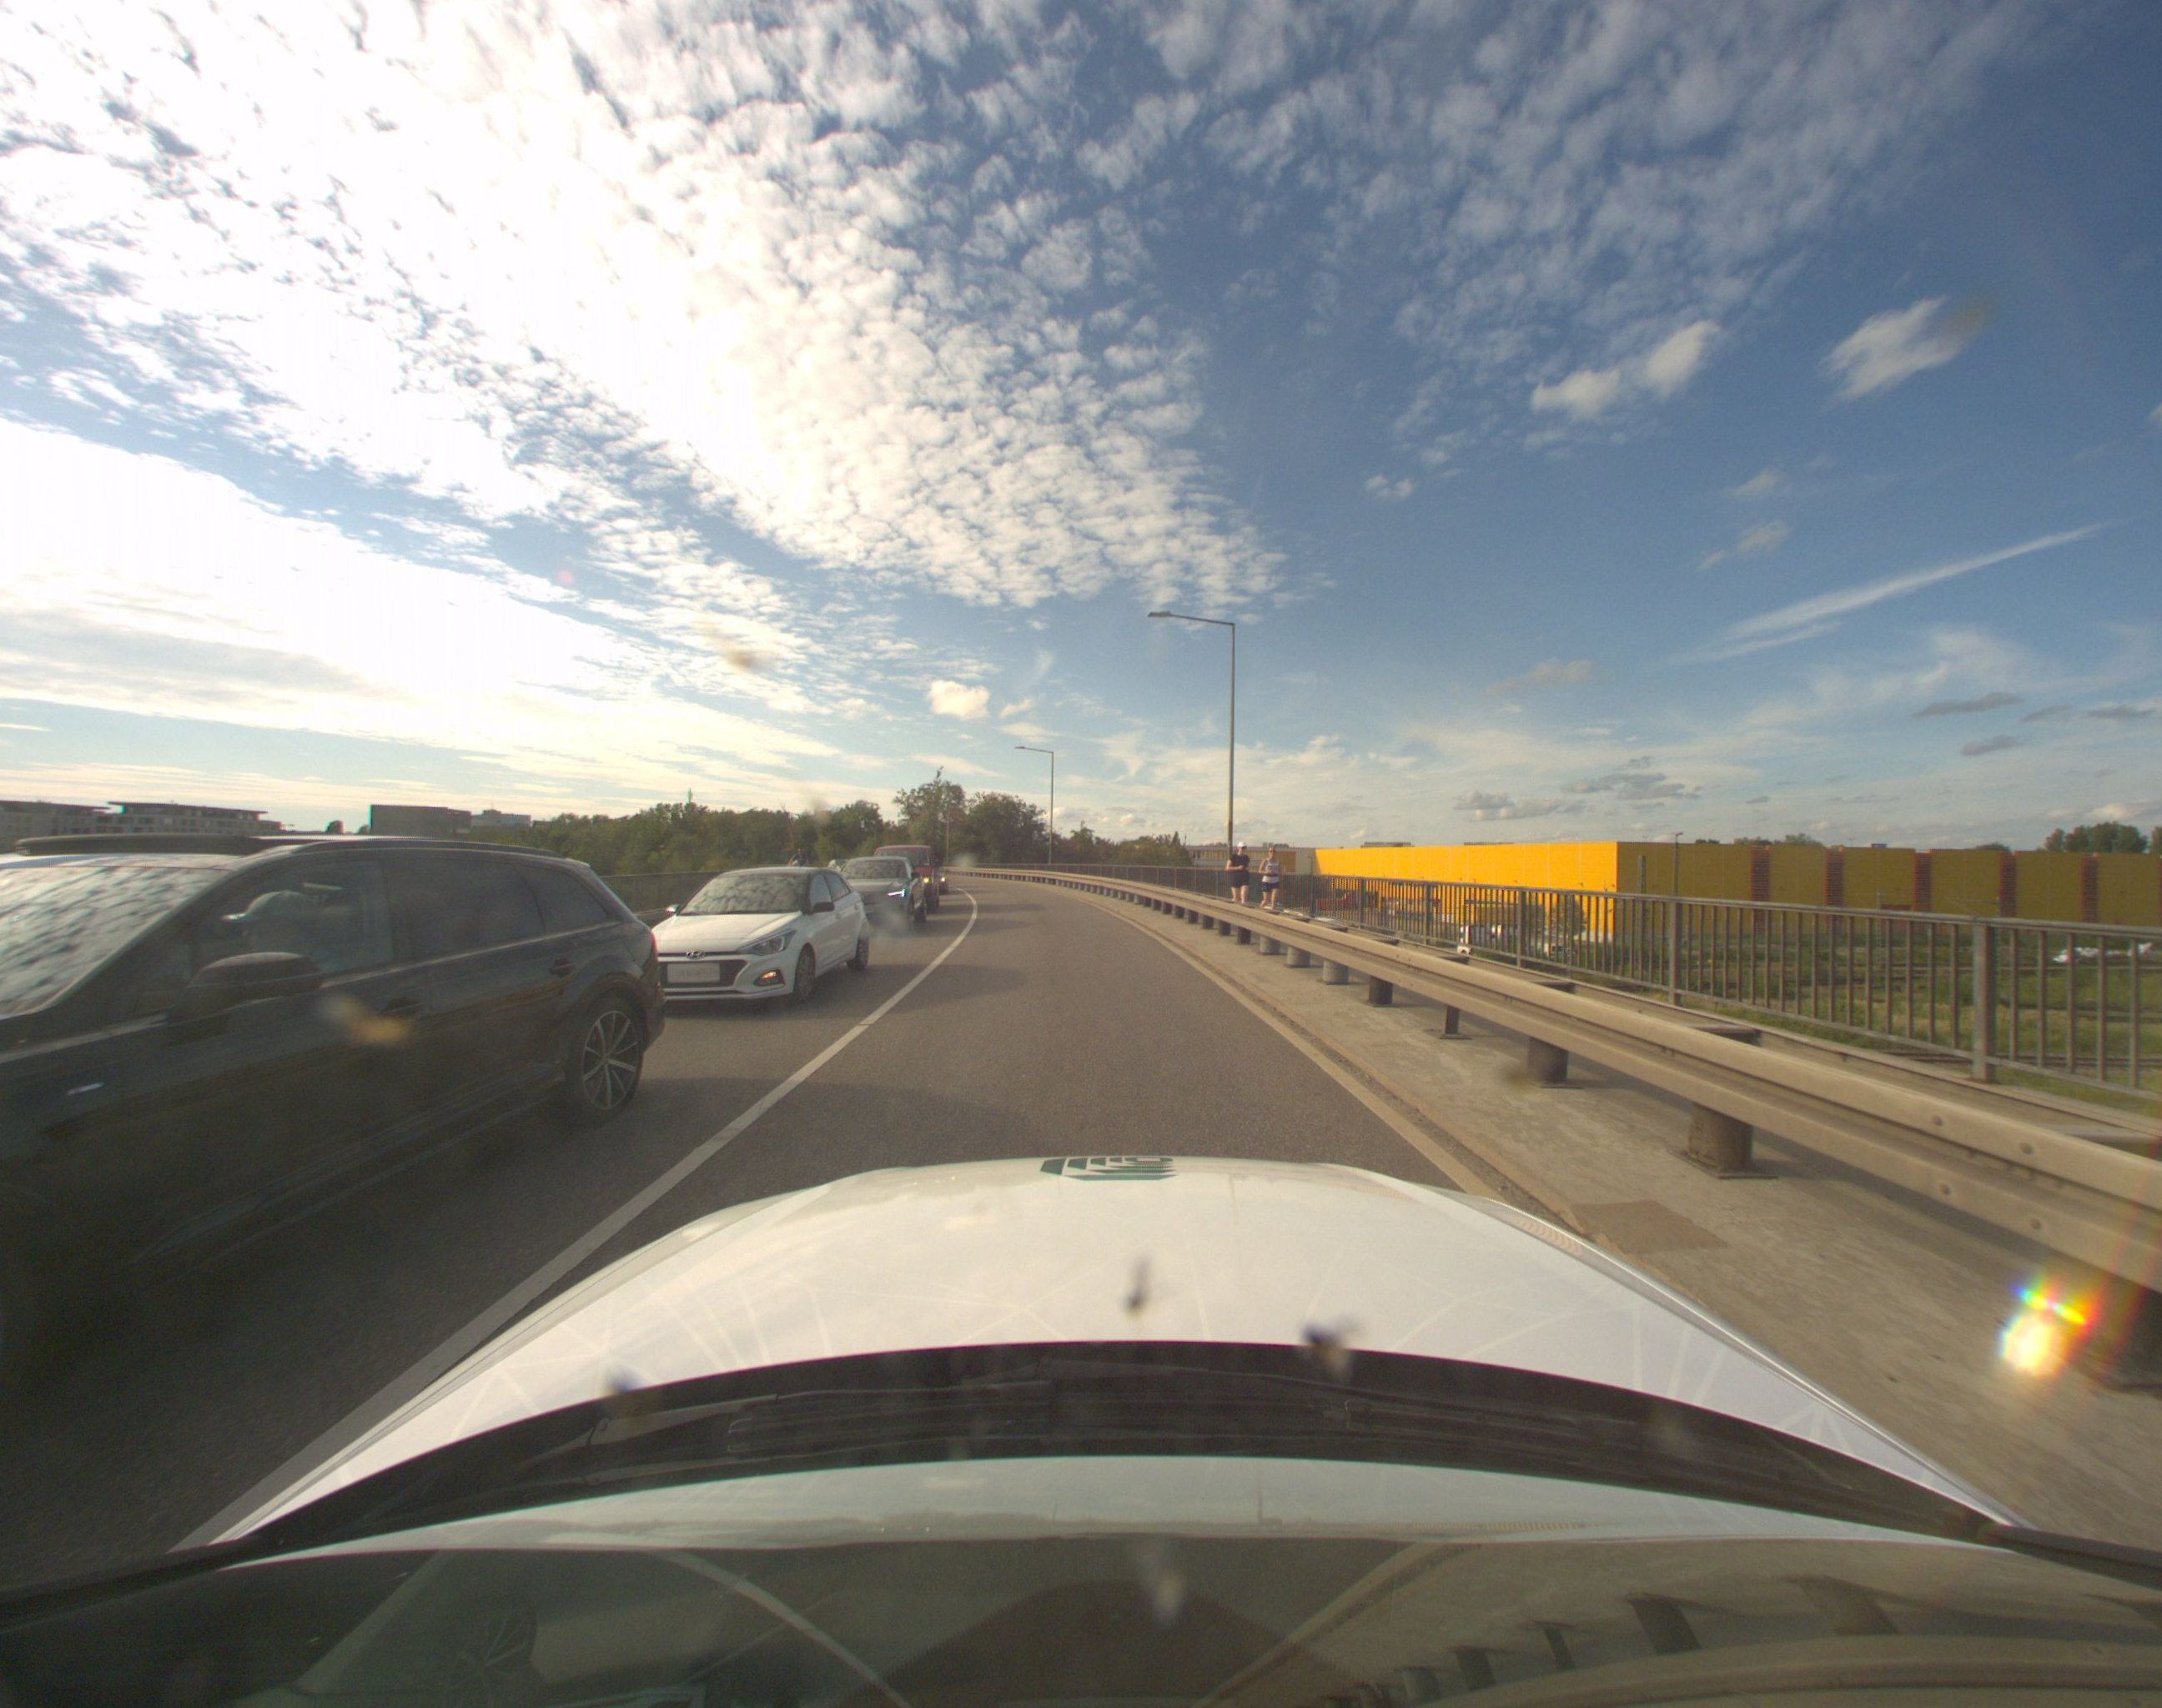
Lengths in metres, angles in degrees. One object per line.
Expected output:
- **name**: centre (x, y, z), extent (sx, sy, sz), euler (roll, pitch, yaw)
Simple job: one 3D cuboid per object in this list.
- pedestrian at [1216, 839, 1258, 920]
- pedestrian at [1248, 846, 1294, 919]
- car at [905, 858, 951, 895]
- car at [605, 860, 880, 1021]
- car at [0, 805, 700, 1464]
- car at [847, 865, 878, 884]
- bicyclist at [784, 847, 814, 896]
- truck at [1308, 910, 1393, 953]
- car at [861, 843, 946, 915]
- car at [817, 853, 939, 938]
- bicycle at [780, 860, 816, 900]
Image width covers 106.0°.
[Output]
- **pedestrian**: centre (3.311, 0.532, 17.359), extent (0.675, 1.661, 0.864), euler (-1, -1, -2)
- **pedestrian**: centre (4.124, 0.604, 17.706), extent (0.675, 1.543, 0.959), euler (-1, -1, -6)
- **car**: centre (-6.758, 0.952, 35.774), extent (1.834, 1.465, 4.499), euler (-2, 0, -12)
- **car**: centre (-3.813, 0.856, 10.015), extent (1.736, 1.501, 4.074), euler (-2, 0, -2)
- **car**: centre (-3.665, 0.736, 3.385), extent (1.823, 1.672, 4.866), euler (-2, 0, 0)
- **car**: centre (-18.884, 1.727, 70.318), extent (1.750, 1.501, 4.040), euler (-1, 0, -27)
- **bicyclist**: centre (-9.820, 0.596, 28.366), extent (0.766, 1.660, 1.117), euler (-1, -1, -8)
- **truck**: centre (29.626, 8.486, 89.721), extent (8.585, 4.091, 2.660), euler (-1, 1, -8)
- **car**: centre (-5.203, 0.680, 24.484), extent (2.006, 1.903, 4.855), euler (-2, 0, -7)
- **car**: centre (-4.333, 0.808, 18.046), extent (1.748, 1.609, 4.309), euler (-2, 0, -3)
- **bicycle**: centre (-9.800, 0.890, 28.256), extent (0.763, 1.331, 1.911), euler (-1, -1, -8)
